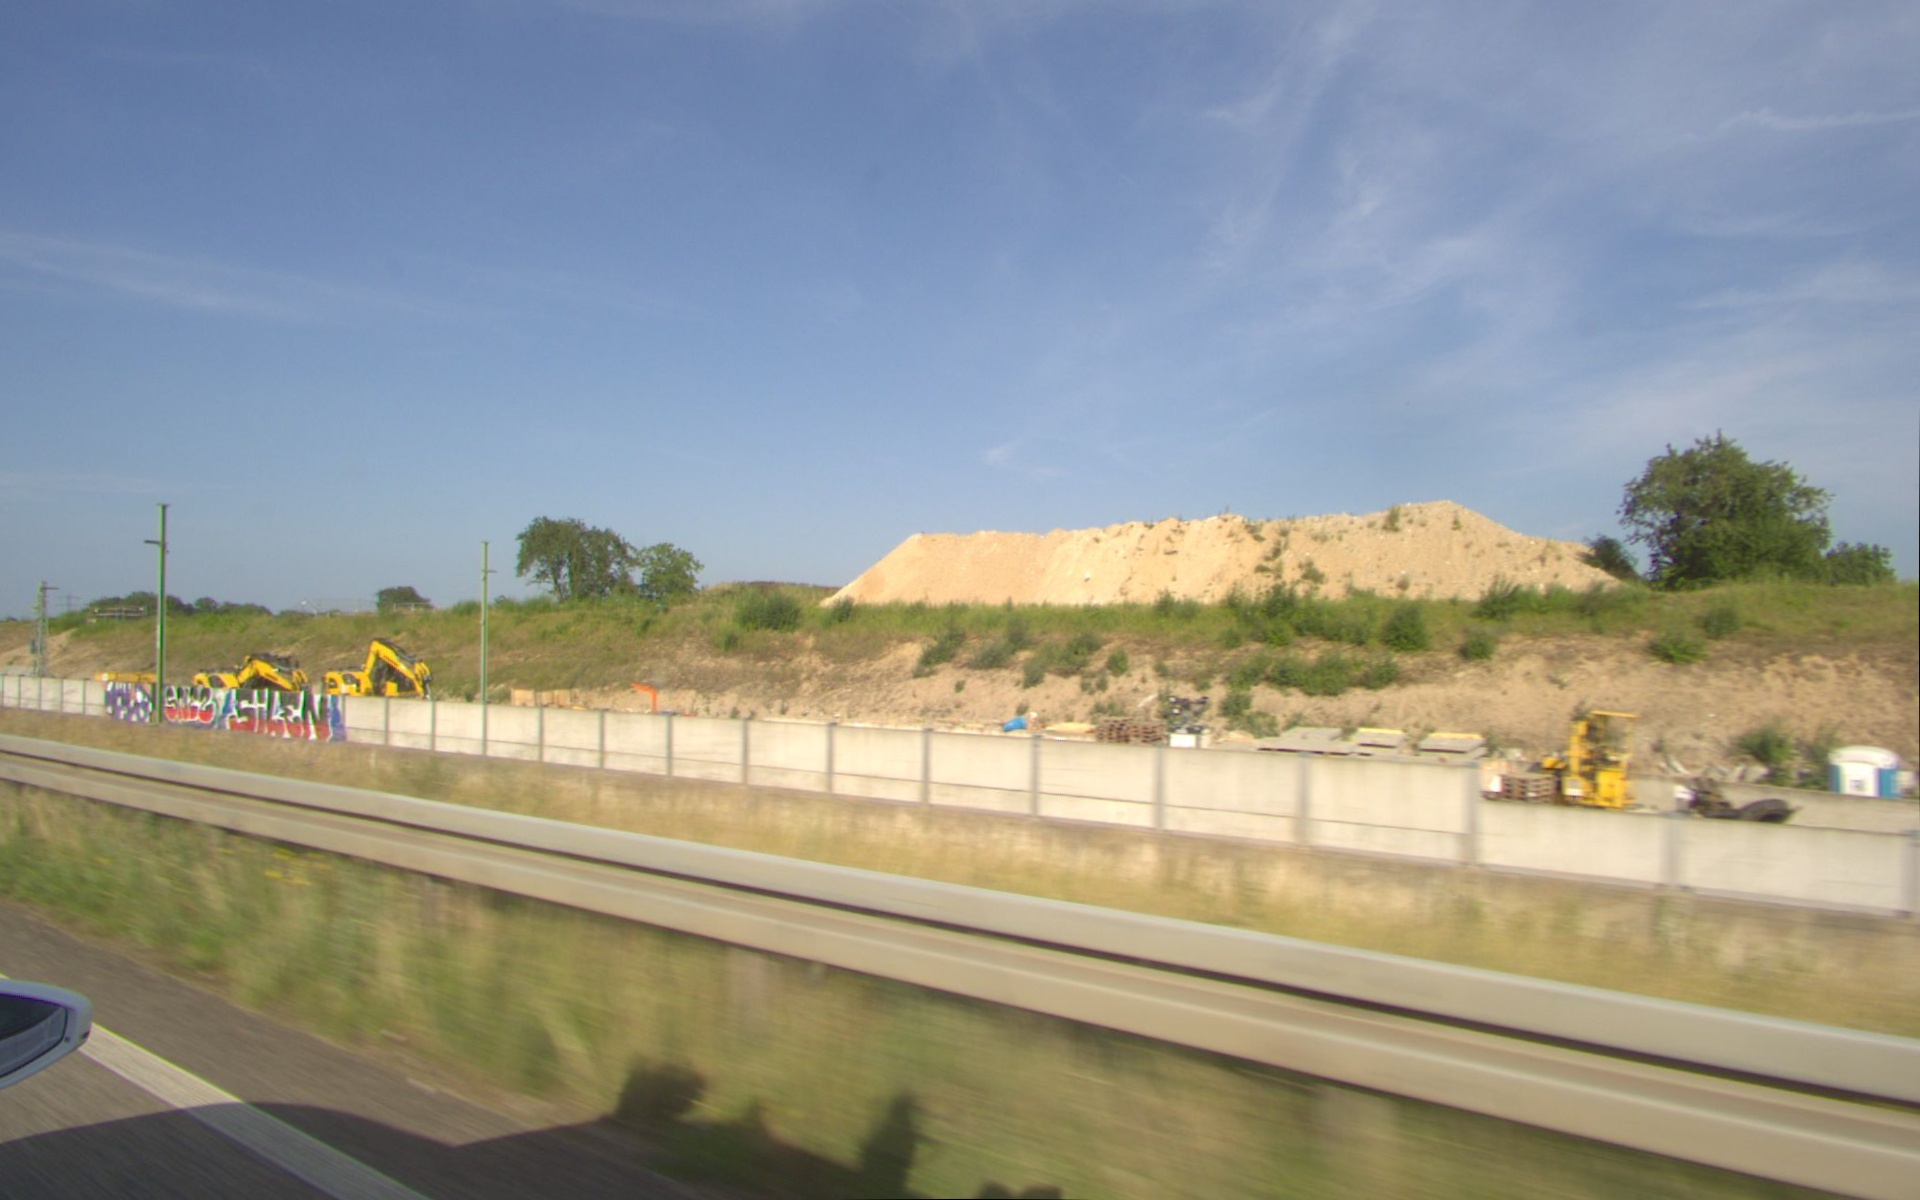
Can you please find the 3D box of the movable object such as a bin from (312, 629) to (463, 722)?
[{"bbox_3d":[-26.427,3.342,46.105,7.428,3.936,2.792,-1,-1,32],"label":"movable object such as a bin"}]

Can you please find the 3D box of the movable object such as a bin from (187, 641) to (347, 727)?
[{"bbox_3d":[-29.772,3.462,42.916,7.956,3.281,2.618,-1,-2,32],"label":"movable object such as a bin"}]

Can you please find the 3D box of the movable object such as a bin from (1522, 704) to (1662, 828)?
[{"bbox_3d":[15.973,4.085,25.311,2.874,2.695,2.007,1,-1,-33],"label":"movable object such as a bin"}]
